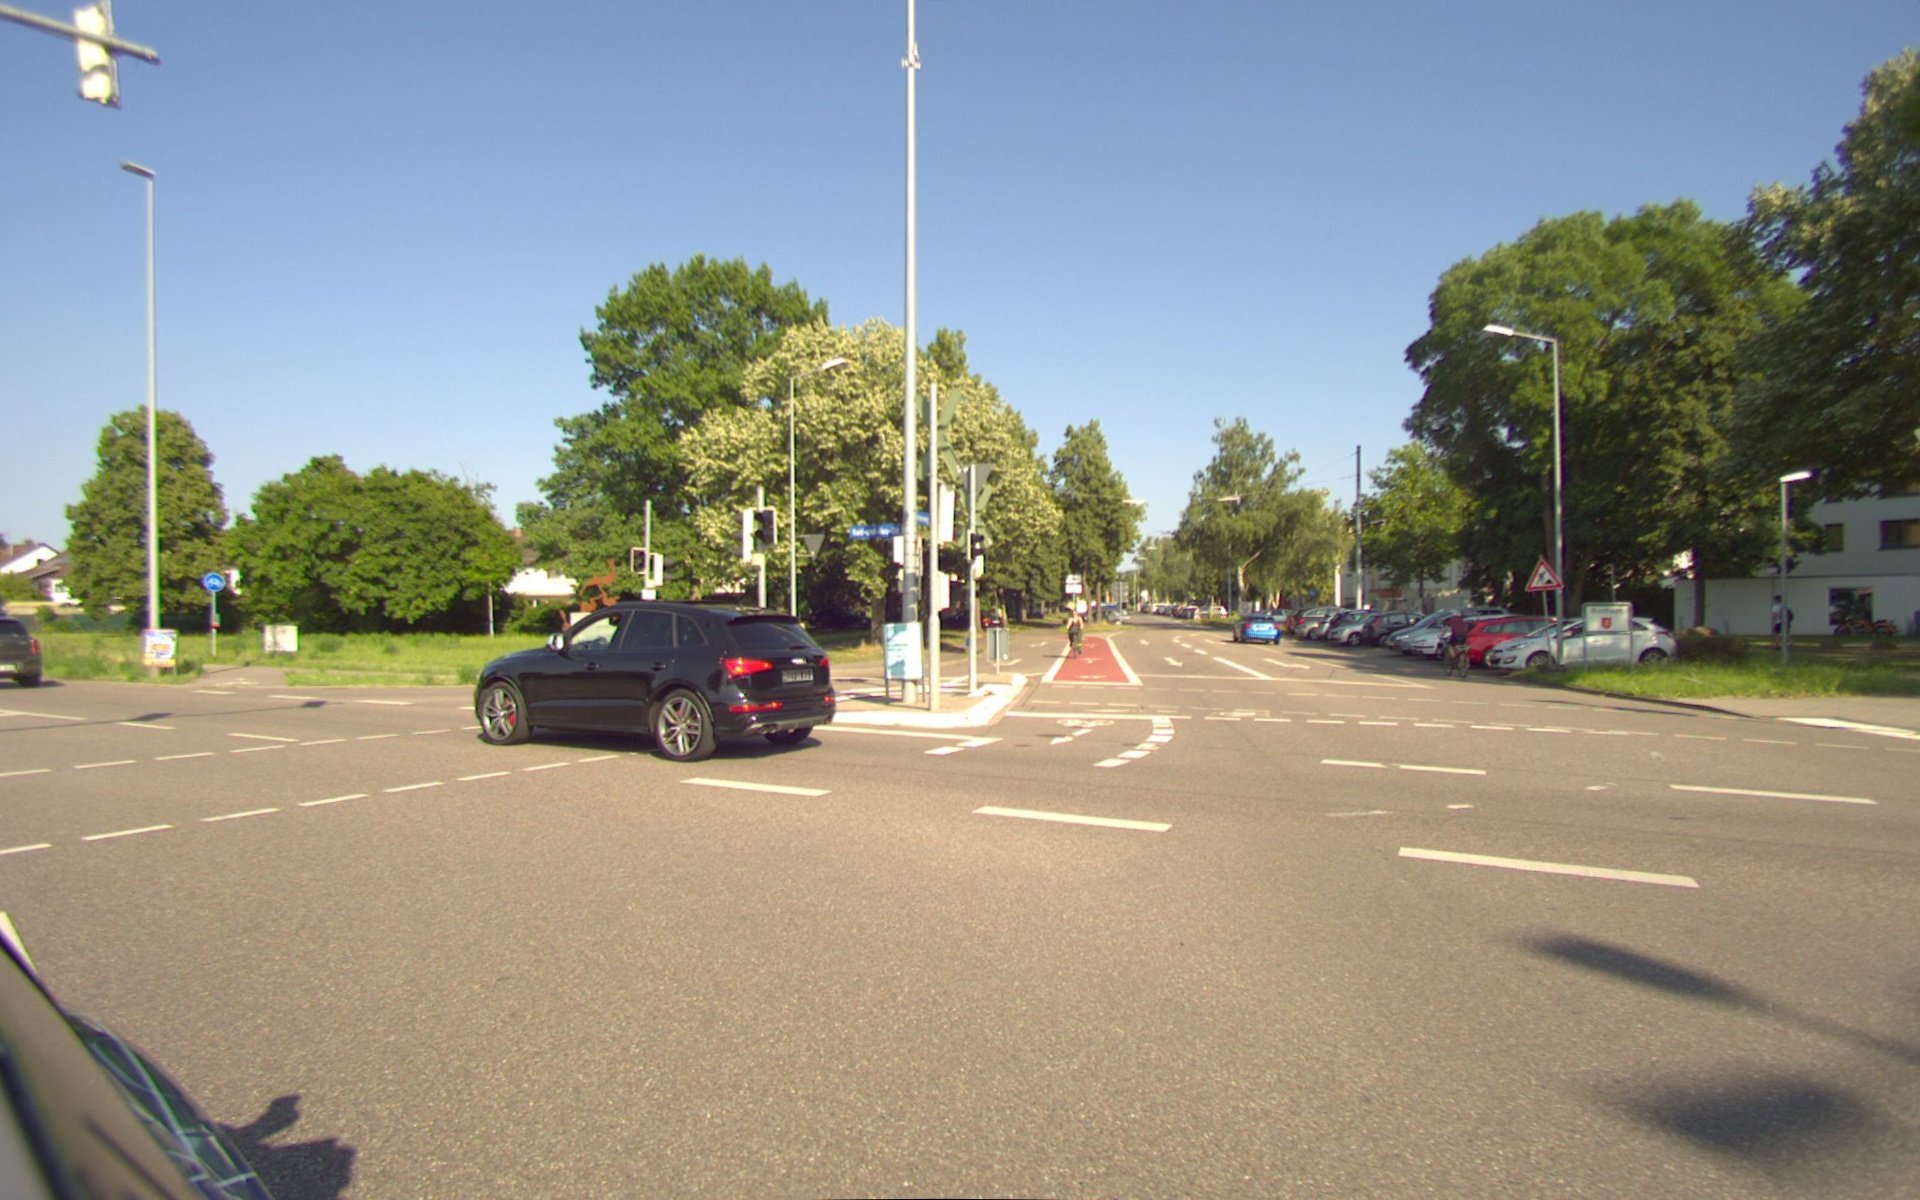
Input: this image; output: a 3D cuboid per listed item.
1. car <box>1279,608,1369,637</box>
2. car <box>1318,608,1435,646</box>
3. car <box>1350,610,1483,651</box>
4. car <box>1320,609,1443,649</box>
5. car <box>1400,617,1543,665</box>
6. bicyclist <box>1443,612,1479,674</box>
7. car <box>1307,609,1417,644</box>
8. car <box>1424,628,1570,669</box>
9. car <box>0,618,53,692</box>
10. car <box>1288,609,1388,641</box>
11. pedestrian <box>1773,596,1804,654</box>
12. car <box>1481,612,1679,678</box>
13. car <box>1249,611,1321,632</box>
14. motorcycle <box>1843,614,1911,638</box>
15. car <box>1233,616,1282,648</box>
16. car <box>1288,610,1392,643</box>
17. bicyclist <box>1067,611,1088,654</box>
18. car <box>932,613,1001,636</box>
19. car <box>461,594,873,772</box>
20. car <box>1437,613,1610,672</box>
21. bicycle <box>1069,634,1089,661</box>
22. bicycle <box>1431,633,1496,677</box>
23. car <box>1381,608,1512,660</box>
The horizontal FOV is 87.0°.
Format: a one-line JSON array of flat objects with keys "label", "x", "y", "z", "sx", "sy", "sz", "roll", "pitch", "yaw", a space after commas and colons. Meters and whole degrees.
[{"label": "car", "x": 21.767, "y": 1.335, "z": 60.685, "sx": 4.758, "sy": 1.488, "sz": 1.781, "roll": -3, "pitch": -1, "yaw": 8}, {"label": "car", "x": 19.698, "y": 1.267, "z": 48.047, "sx": 4.758, "sy": 1.488, "sz": 1.781, "roll": -4, "pitch": -1, "yaw": 8}, {"label": "car", "x": 19.445, "y": 1.306, "z": 43.287, "sx": 4.758, "sy": 1.488, "sz": 1.781, "roll": -3, "pitch": -1, "yaw": 8}, {"label": "car", "x": 18.831, "y": 1.293, "z": 45.395, "sx": 4.660, "sy": 1.488, "sz": 1.781, "roll": -4, "pitch": -1, "yaw": 8}, {"label": "car", "x": 17.276, "y": 1.367, "z": 34.365, "sx": 3.956, "sy": 1.532, "sz": 1.779, "roll": 0, "pitch": -1, "yaw": 11}, {"label": "bicyclist", "x": 12.972, "y": 1.105, "z": 26.217, "sx": 0.600, "sy": 1.572, "sz": 0.603, "roll": 0, "pitch": -1, "yaw": -1}, {"label": "car", "x": 20.006, "y": 1.314, "z": 50.529, "sx": 4.722, "sy": 1.488, "sz": 1.781, "roll": -3, "pitch": -1, "yaw": 8}, {"label": "car", "x": 16.731, "y": 1.508, "z": 31.687, "sx": 3.748, "sy": 1.202, "sz": 1.460, "roll": 0, "pitch": -1, "yaw": 12}, {"label": "car", "x": -21.671, "y": 1.147, "z": 21.857, "sx": 3.980, "sy": 1.532, "sz": 1.778, "roll": -1, "pitch": -1, "yaw": 27}, {"label": "car", "x": 20.649, "y": 1.358, "z": 55.474, "sx": 4.758, "sy": 1.488, "sz": 1.781, "roll": -3, "pitch": -1, "yaw": 8}, {"label": "pedestrian", "x": 25.353, "y": 0.761, "z": 30.964, "sx": 0.704, "sy": 1.726, "sz": 0.617, "roll": -1, "pitch": -1, "yaw": 41}, {"label": "car", "x": 16.094, "y": 1.171, "z": 26.477, "sx": 3.958, "sy": 1.450, "sz": 1.779, "roll": -4, "pitch": -1, "yaw": 12}, {"label": "car", "x": 23.441, "y": 1.569, "z": 73.046, "sx": 4.765, "sy": 1.488, "sz": 1.778, "roll": 0, "pitch": -1, "yaw": 13}, {"label": "motorcycle", "x": 38.398, "y": 1.097, "z": 42.424, "sx": 0.517, "sy": 0.972, "sz": 2.051, "roll": 0, "pitch": -1, "yaw": -27}, {"label": "car", "x": 14.242, "y": 1.485, "z": 48.630, "sx": 1.765, "sy": 1.425, "sz": 4.231, "roll": 0, "pitch": 0, "yaw": 10}, {"label": "car", "x": 19.878, "y": 1.395, "z": 53.097, "sx": 4.758, "sy": 1.488, "sz": 1.781, "roll": -3, "pitch": -1, "yaw": 8}, {"label": "bicyclist", "x": 4.227, "y": 1.162, "z": 36.389, "sx": 0.609, "sy": 1.535, "sz": 0.627, "roll": -2, "pitch": -1, "yaw": 0}, {"label": "car", "x": 0.338, "y": 1.436, "z": 61.136, "sx": 1.501, "sy": 1.330, "sz": 4.778, "roll": 0, "pitch": -1, "yaw": -39}, {"label": "car", "x": -3.334, "y": 0.812, "z": 11.402, "sx": 4.365, "sy": 1.672, "sz": 1.976, "roll": -1, "pitch": -1, "yaw": 29}, {"label": "car", "x": 16.397, "y": 1.227, "z": 29.649, "sx": 3.960, "sy": 1.426, "sz": 1.778, "roll": -4, "pitch": -1, "yaw": 13}, {"label": "bicycle", "x": 4.270, "y": 1.689, "z": 36.395, "sx": 0.646, "sy": 0.910, "sz": 1.806, "roll": -1, "pitch": 0, "yaw": 6}, {"label": "bicycle", "x": 12.967, "y": 1.399, "z": 26.146, "sx": 0.613, "sy": 1.048, "sz": 2.072, "roll": 0, "pitch": -1, "yaw": -1}, {"label": "car", "x": 17.734, "y": 1.221, "z": 37.094, "sx": 3.956, "sy": 1.824, "sz": 1.779, "roll": 0, "pitch": -1, "yaw": 11}]
